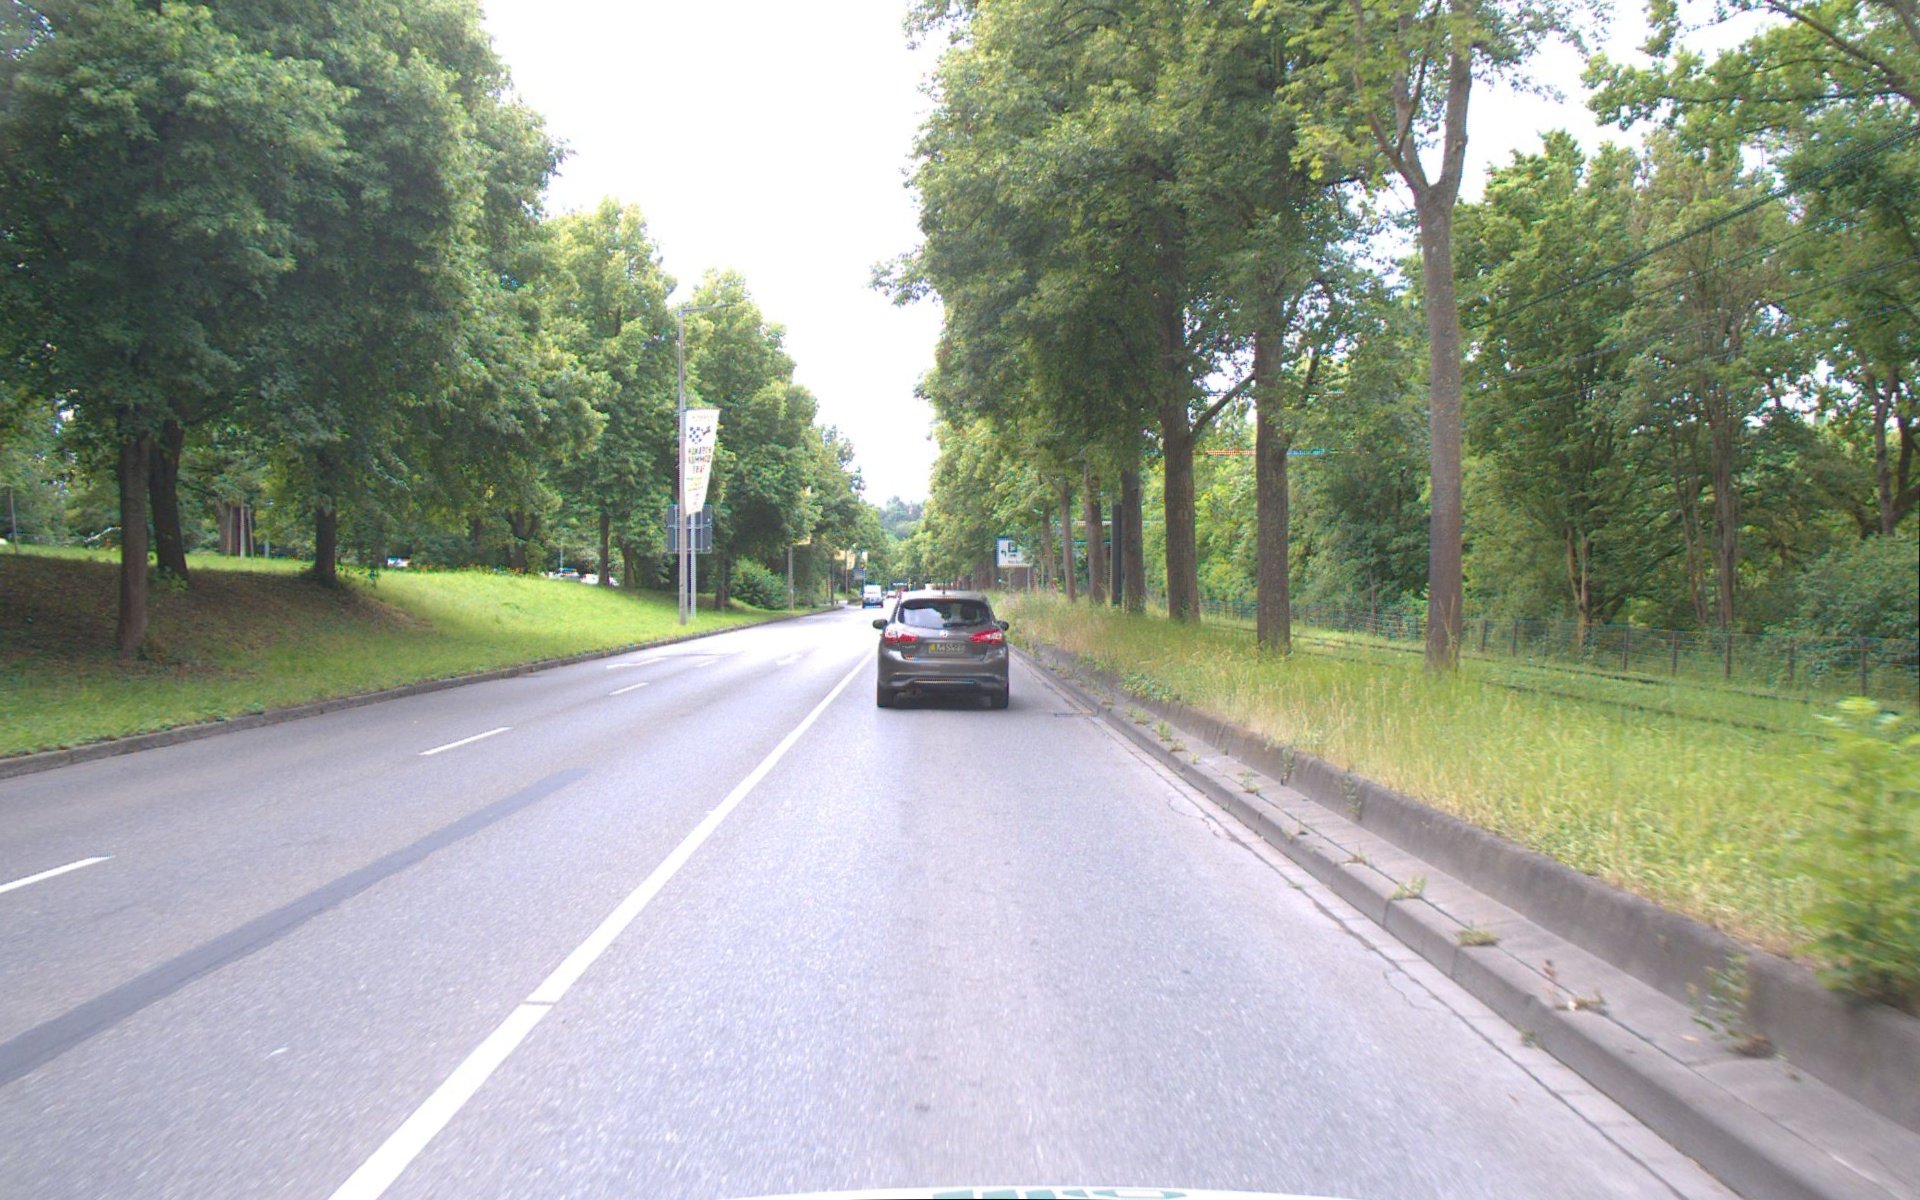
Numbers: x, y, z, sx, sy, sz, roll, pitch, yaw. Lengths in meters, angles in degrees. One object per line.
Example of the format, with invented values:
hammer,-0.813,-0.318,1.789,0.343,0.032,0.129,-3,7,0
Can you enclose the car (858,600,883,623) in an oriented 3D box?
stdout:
car,-7.835,1.010,145.232,1.953,1.990,5.183,0,0,-1

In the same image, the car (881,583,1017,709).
car,-0.188,0.590,22.670,1.695,1.564,3.550,1,0,-2

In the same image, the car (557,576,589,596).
car,-30.002,-1.055,128.083,1.625,1.512,3.969,1,0,-25

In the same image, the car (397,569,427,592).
car,-38.608,-1.355,116.477,1.625,1.512,3.969,1,0,-25
